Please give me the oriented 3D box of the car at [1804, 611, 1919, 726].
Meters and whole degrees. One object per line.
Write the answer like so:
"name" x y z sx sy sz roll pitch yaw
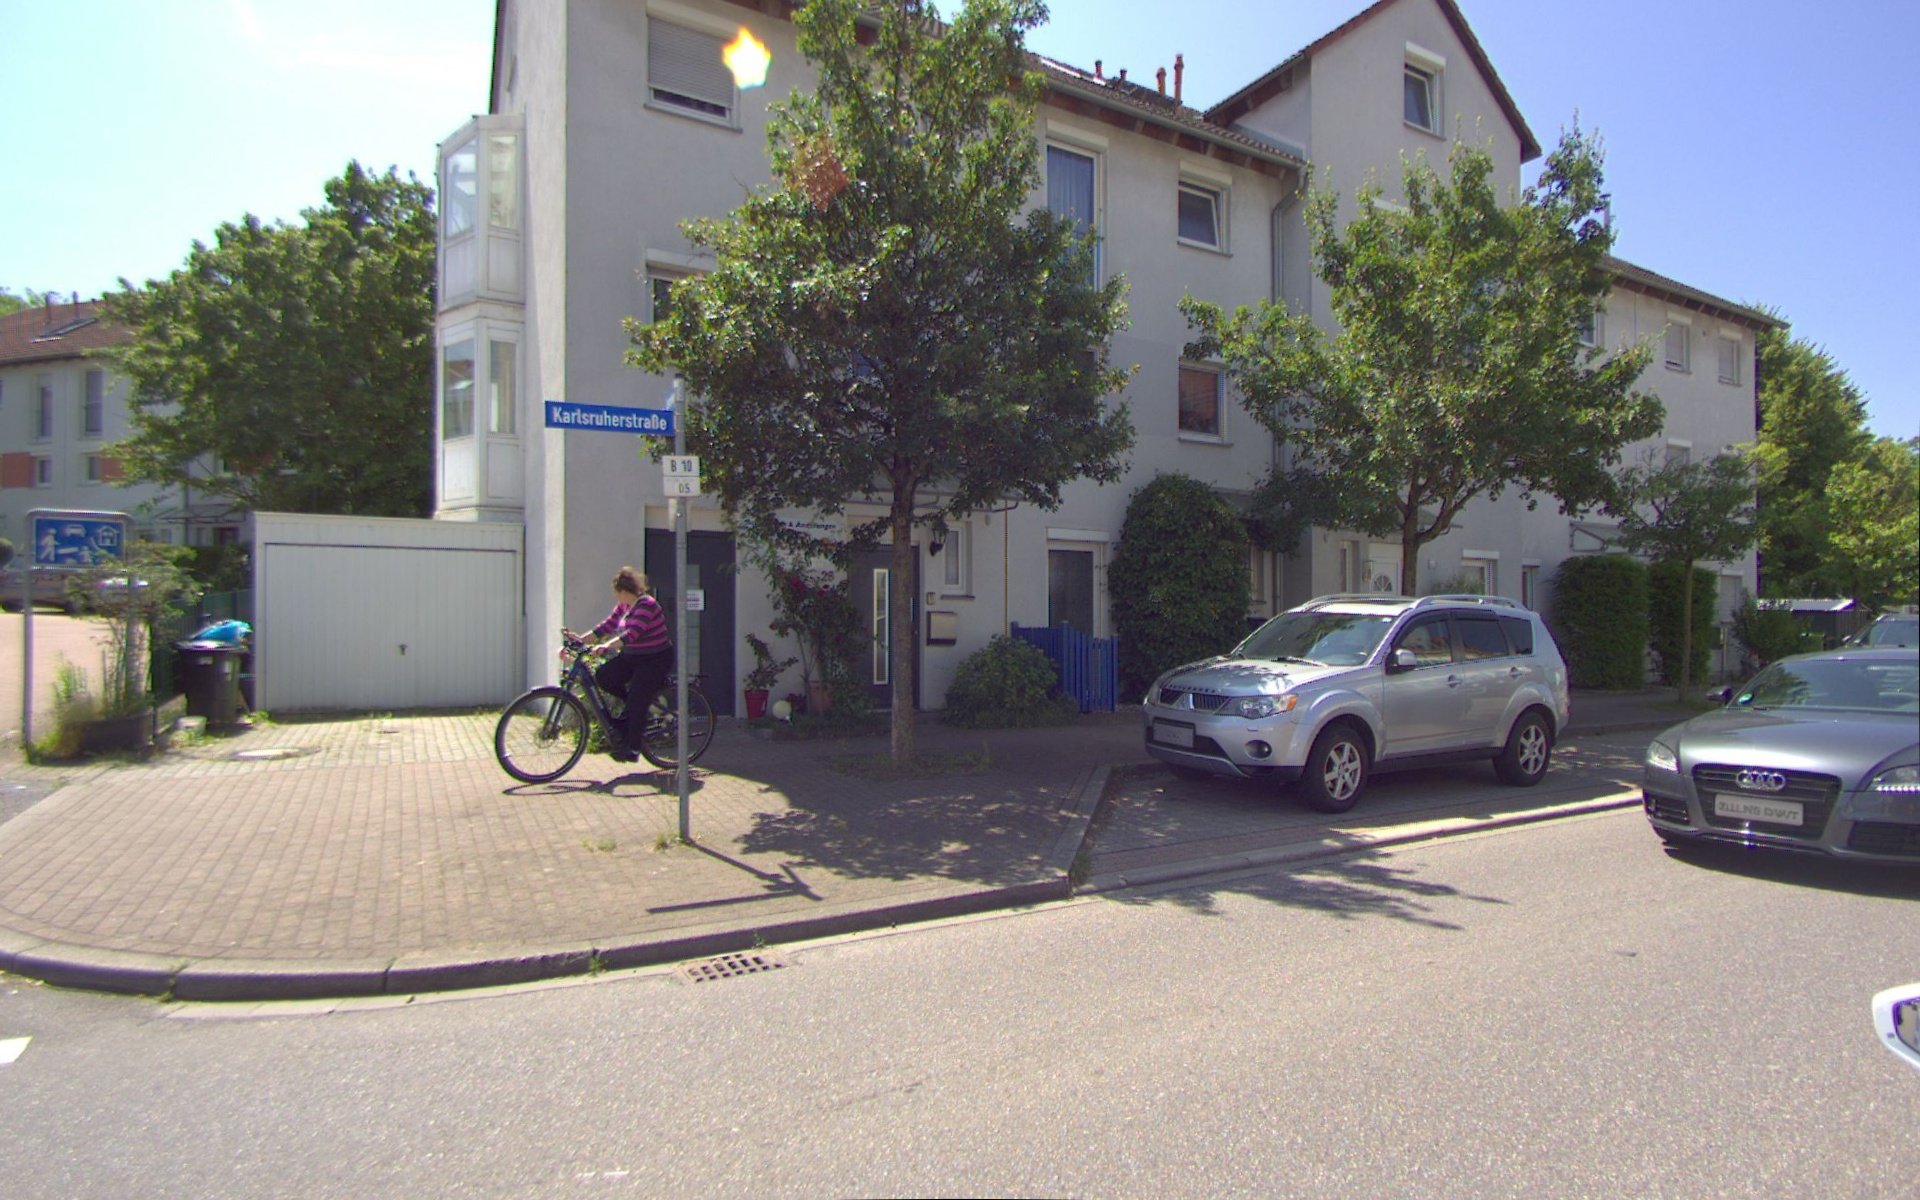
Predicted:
"car" 15.294 1.023 15.922 3.949 1.641 1.684 1 0 -30

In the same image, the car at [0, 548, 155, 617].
"car" -23.604 -0.469 26.821 1.720 1.645 3.988 2 1 -14

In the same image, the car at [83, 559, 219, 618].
"car" -21.474 -0.322 26.848 1.668 1.447 3.980 1 1 -21

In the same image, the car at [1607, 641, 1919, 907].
"car" 6.353 0.980 6.847 3.823 1.388 1.698 1 -3 -30

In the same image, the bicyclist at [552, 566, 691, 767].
"bicyclist" -2.732 0.504 8.097 0.900 1.514 0.654 1 2 -34

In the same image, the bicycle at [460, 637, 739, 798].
"bicycle" -2.845 0.873 8.033 2.005 1.070 0.667 0 2 -34

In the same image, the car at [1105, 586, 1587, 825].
"car" 3.590 0.785 9.078 4.474 1.709 1.697 1 0 -31
